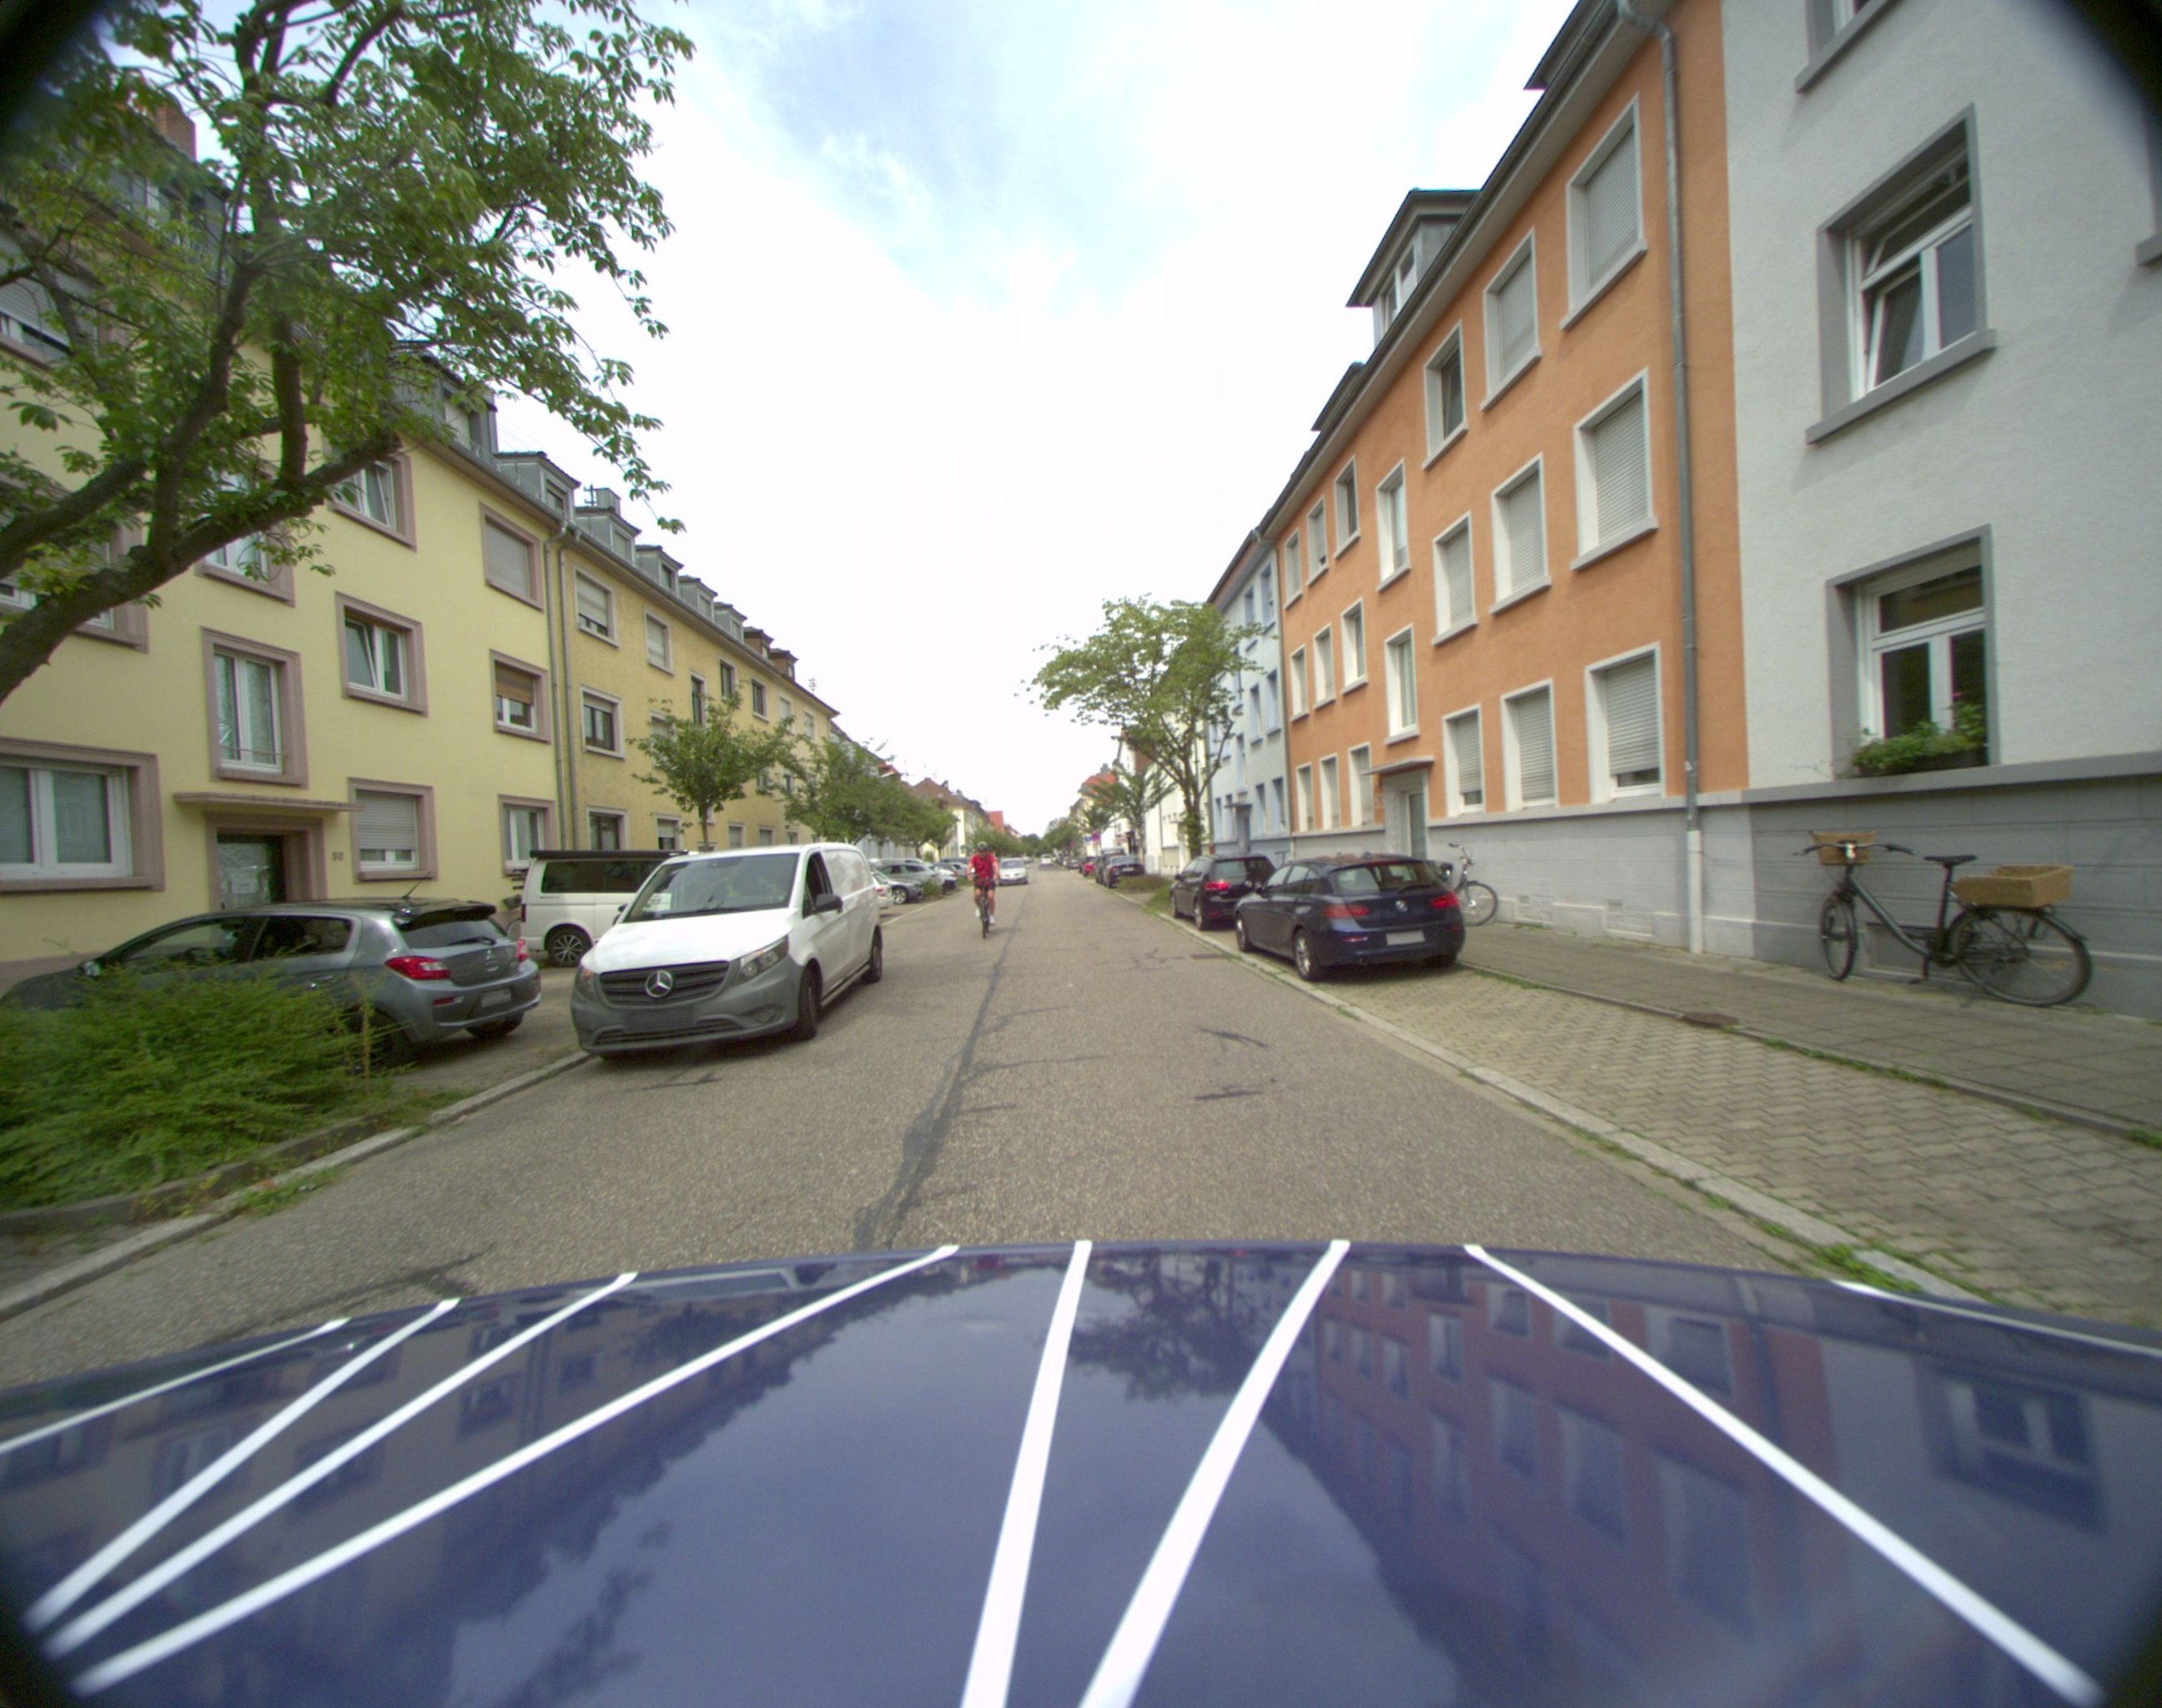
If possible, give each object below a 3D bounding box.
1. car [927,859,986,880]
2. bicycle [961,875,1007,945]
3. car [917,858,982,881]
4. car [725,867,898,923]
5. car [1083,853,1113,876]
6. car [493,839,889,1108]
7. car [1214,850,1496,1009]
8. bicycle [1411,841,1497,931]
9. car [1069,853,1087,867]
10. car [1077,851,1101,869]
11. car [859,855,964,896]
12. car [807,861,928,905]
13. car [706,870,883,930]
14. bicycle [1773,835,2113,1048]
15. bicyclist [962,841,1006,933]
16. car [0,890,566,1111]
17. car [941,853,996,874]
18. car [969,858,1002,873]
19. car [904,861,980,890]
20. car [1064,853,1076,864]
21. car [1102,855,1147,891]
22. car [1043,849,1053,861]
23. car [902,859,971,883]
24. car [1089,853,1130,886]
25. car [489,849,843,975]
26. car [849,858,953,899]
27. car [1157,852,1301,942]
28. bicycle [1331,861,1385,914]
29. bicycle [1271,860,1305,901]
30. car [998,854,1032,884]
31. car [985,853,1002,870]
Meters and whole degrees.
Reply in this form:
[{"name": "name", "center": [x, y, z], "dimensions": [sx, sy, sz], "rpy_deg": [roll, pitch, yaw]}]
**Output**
[{"name": "car", "center": [-9.889, 1.221, 60.569], "dimensions": [4.404, 1.527, 1.870], "rpy_deg": [-1, 1, -3]}, {"name": "bicycle", "center": [-1.926, 1.087, 15.336], "dimensions": [0.693, 1.220, 1.936], "rpy_deg": [-4, 1, -3]}, {"name": "car", "center": [-9.654, 1.155, 56.167], "dimensions": [4.402, 1.603, 1.871], "rpy_deg": [-1, 1, 3]}, {"name": "car", "center": [-7.974, 1.189, 22.852], "dimensions": [4.560, 1.501, 1.849], "rpy_deg": [-1, 1, -5]}, {"name": "car", "center": [1.188, 0.735, 54.922], "dimensions": [1.712, 1.591, 4.114], "rpy_deg": [-1, 1, -5]}, {"name": "car", "center": [-3.571, 0.893, 8.207], "dimensions": [1.999, 1.904, 4.701], "rpy_deg": [-5, 1, -5]}, {"name": "car", "center": [3.244, 0.769, 10.001], "dimensions": [1.841, 1.475, 4.119], "rpy_deg": [-6, 1, -5]}, {"name": "bicycle", "center": [5.896, 0.464, 12.110], "dimensions": [0.430, 1.326, 1.811], "rpy_deg": [-1, 1, -1]}, {"name": "car", "center": [-0.312, 0.585, 82.346], "dimensions": [1.712, 1.438, 3.441], "rpy_deg": [-1, 1, -5]}, {"name": "car", "center": [0.646, 0.516, 65.423], "dimensions": [1.712, 1.477, 3.441], "rpy_deg": [-1, 1, -5]}, {"name": "car", "center": [-8.281, 1.024, 37.354], "dimensions": [4.751, 1.899, 1.850], "rpy_deg": [-1, 1, -3]}, {"name": "car", "center": [-8.408, 1.141, 30.211], "dimensions": [4.319, 1.588, 1.850], "rpy_deg": [-1, 1, -3]}, {"name": "car", "center": [-7.606, 1.192, 20.514], "dimensions": [4.104, 1.406, 1.849], "rpy_deg": [-1, 1, -5]}, {"name": "bicycle", "center": [6.193, 0.539, 5.639], "dimensions": [0.430, 1.326, 1.811], "rpy_deg": [-1, 1, -1]}, {"name": "bicyclist", "center": [-1.952, 0.649, 15.374], "dimensions": [0.694, 1.760, 0.986], "rpy_deg": [-4, 1, -3]}, {"name": "car", "center": [-7.073, 1.187, 6.898], "dimensions": [3.488, 1.565, 1.814], "rpy_deg": [-1, 1, -4]}, {"name": "car", "center": [-10.140, 0.869, 68.723], "dimensions": [4.721, 1.817, 1.870], "rpy_deg": [-1, 1, -3]}, {"name": "car", "center": [-10.473, 1.258, 83.672], "dimensions": [3.442, 1.438, 1.646], "rpy_deg": [-3, 0, -6]}, {"name": "car", "center": [-7.925, 1.205, 43.625], "dimensions": [4.120, 1.527, 1.710], "rpy_deg": [-1, 1, -4]}, {"name": "car", "center": [-1.649, 0.665, 112.713], "dimensions": [1.711, 1.495, 3.442], "rpy_deg": [-1, 1, -3]}, {"name": "car", "center": [1.945, 0.833, 35.373], "dimensions": [1.706, 1.533, 4.248], "rpy_deg": [0, 1, -2]}, {"name": "car", "center": [-6.095, 0.213, 140.357], "dimensions": [1.757, 2.098, 3.620], "rpy_deg": [-1, 1, -3]}, {"name": "car", "center": [-9.744, 1.122, 51.602], "dimensions": [4.405, 1.491, 1.710], "rpy_deg": [-1, 1, -4]}, {"name": "car", "center": [1.506, 0.787, 41.334], "dimensions": [1.697, 1.573, 4.247], "rpy_deg": [-4, 1, -4]}, {"name": "car", "center": [-7.287, 0.957, 13.922], "dimensions": [5.245, 2.011, 2.072], "rpy_deg": [-1, 1, -7]}, {"name": "car", "center": [-8.120, 1.081, 34.612], "dimensions": [4.319, 1.674, 1.849], "rpy_deg": [-1, 2, -3]}, {"name": "car", "center": [2.935, 0.781, 15.992], "dimensions": [1.841, 1.475, 4.091], "rpy_deg": [-4, 1, -5]}, {"name": "bicycle", "center": [5.746, 0.672, 15.863], "dimensions": [0.368, 1.000, 1.867], "rpy_deg": [-1, 1, -3]}, {"name": "bicycle", "center": [5.473, 0.678, 20.141], "dimensions": [0.368, 0.990, 1.569], "rpy_deg": [-2, 1, -3]}, {"name": "car", "center": [-3.925, 0.882, 45.856], "dimensions": [1.788, 1.595, 4.834], "rpy_deg": [-3, 1, -3]}, {"name": "car", "center": [-10.249, 0.841, 89.481], "dimensions": [1.646, 1.817, 3.442], "rpy_deg": [-3, 1, -3]}]
